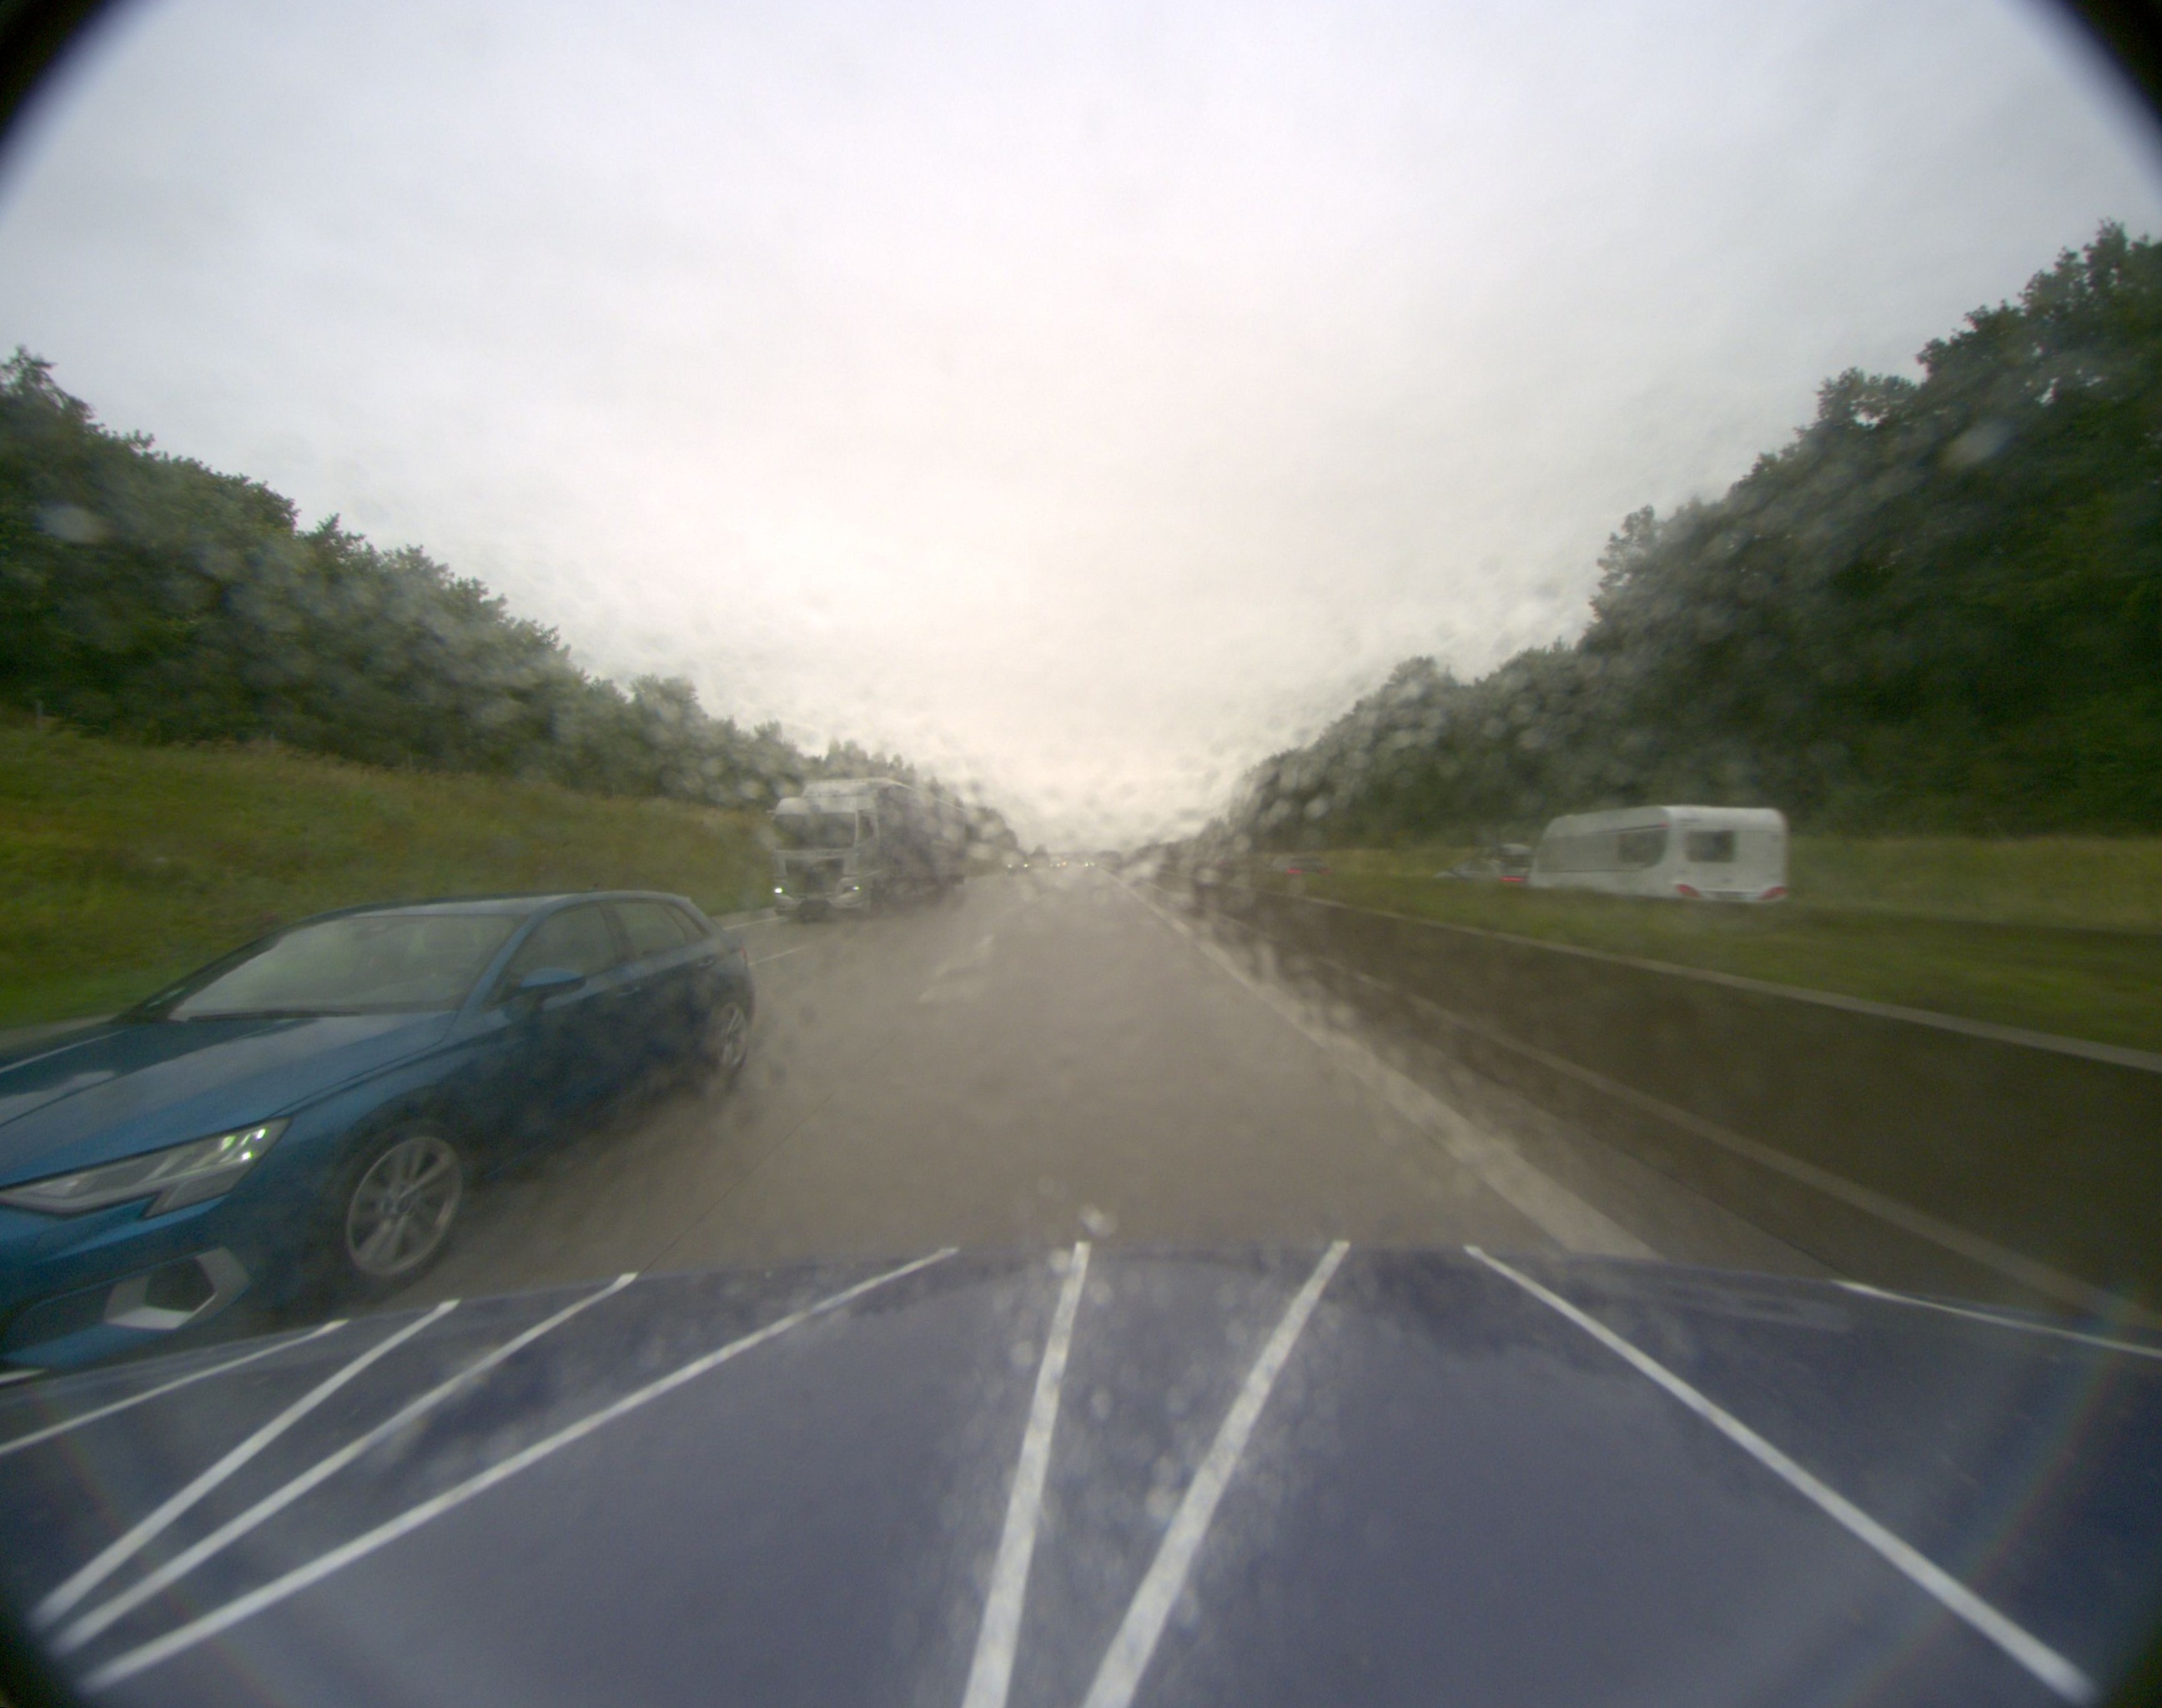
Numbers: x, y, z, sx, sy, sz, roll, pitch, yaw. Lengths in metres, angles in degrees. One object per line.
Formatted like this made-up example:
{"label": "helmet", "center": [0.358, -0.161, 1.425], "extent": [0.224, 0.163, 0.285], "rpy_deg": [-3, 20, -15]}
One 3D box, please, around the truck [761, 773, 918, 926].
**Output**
{"label": "truck", "center": [-6.979, -0.113, 22.894], "extent": [2.643, 3.931, 5.686], "rpy_deg": [-3, 0, 1]}

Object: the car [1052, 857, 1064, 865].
{"label": "car", "center": [-4.905, 1.429, 162.316], "extent": [1.998, 1.575, 5.954], "rpy_deg": [-3, -1, 2]}

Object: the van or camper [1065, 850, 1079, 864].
{"label": "van or camper", "center": [-1.591, 0.547, 138.898], "extent": [2.233, 2.537, 7.950], "rpy_deg": [-1, 0, 2]}

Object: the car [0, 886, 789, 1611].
{"label": "car", "center": [-3.368, 1.037, 4.024], "extent": [1.733, 1.450, 4.672], "rpy_deg": [-1, 1, 1]}

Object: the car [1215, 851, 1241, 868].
{"label": "car", "center": [16.911, 0.621, 87.516], "extent": [2.065, 1.791, 4.852], "rpy_deg": [-1, 0, 0]}

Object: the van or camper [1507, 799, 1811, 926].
{"label": "van or camper", "center": [12.766, 0.134, 17.560], "extent": [2.507, 2.415, 5.918], "rpy_deg": [-1, 1, 0]}

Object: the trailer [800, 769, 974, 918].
{"label": "trailer", "center": [-6.897, -0.288, 30.448], "extent": [2.713, 4.354, 15.205], "rpy_deg": [-3, 0, 1]}

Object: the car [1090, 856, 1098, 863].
{"label": "car", "center": [2.844, 1.215, 164.321], "extent": [1.733, 1.450, 4.672], "rpy_deg": [-1, 1, 1]}

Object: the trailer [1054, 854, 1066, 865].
{"label": "trailer", "center": [-4.630, 1.155, 168.316], "extent": [2.348, 2.445, 5.940], "rpy_deg": [-1, 0, 2]}

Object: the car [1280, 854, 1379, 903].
{"label": "car", "center": [8.738, 0.795, 27.181], "extent": [2.065, 1.600, 4.852], "rpy_deg": [-1, 0, 2]}

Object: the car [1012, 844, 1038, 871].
{"label": "car", "center": [-5.977, 0.405, 82.239], "extent": [1.945, 2.643, 6.588], "rpy_deg": [-3, -1, 2]}

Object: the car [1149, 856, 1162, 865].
{"label": "car", "center": [13.182, 1.152, 134.379], "extent": [1.973, 1.600, 4.852], "rpy_deg": [-1, 0, 2]}

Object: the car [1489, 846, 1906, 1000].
{"label": "car", "center": [8.157, 0.753, 10.915], "extent": [1.859, 1.674, 5.087], "rpy_deg": [-1, 0, 0]}

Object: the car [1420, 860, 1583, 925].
{"label": "car", "center": [12.617, 1.067, 23.335], "extent": [1.998, 1.635, 5.408], "rpy_deg": [1, 1, 0]}
